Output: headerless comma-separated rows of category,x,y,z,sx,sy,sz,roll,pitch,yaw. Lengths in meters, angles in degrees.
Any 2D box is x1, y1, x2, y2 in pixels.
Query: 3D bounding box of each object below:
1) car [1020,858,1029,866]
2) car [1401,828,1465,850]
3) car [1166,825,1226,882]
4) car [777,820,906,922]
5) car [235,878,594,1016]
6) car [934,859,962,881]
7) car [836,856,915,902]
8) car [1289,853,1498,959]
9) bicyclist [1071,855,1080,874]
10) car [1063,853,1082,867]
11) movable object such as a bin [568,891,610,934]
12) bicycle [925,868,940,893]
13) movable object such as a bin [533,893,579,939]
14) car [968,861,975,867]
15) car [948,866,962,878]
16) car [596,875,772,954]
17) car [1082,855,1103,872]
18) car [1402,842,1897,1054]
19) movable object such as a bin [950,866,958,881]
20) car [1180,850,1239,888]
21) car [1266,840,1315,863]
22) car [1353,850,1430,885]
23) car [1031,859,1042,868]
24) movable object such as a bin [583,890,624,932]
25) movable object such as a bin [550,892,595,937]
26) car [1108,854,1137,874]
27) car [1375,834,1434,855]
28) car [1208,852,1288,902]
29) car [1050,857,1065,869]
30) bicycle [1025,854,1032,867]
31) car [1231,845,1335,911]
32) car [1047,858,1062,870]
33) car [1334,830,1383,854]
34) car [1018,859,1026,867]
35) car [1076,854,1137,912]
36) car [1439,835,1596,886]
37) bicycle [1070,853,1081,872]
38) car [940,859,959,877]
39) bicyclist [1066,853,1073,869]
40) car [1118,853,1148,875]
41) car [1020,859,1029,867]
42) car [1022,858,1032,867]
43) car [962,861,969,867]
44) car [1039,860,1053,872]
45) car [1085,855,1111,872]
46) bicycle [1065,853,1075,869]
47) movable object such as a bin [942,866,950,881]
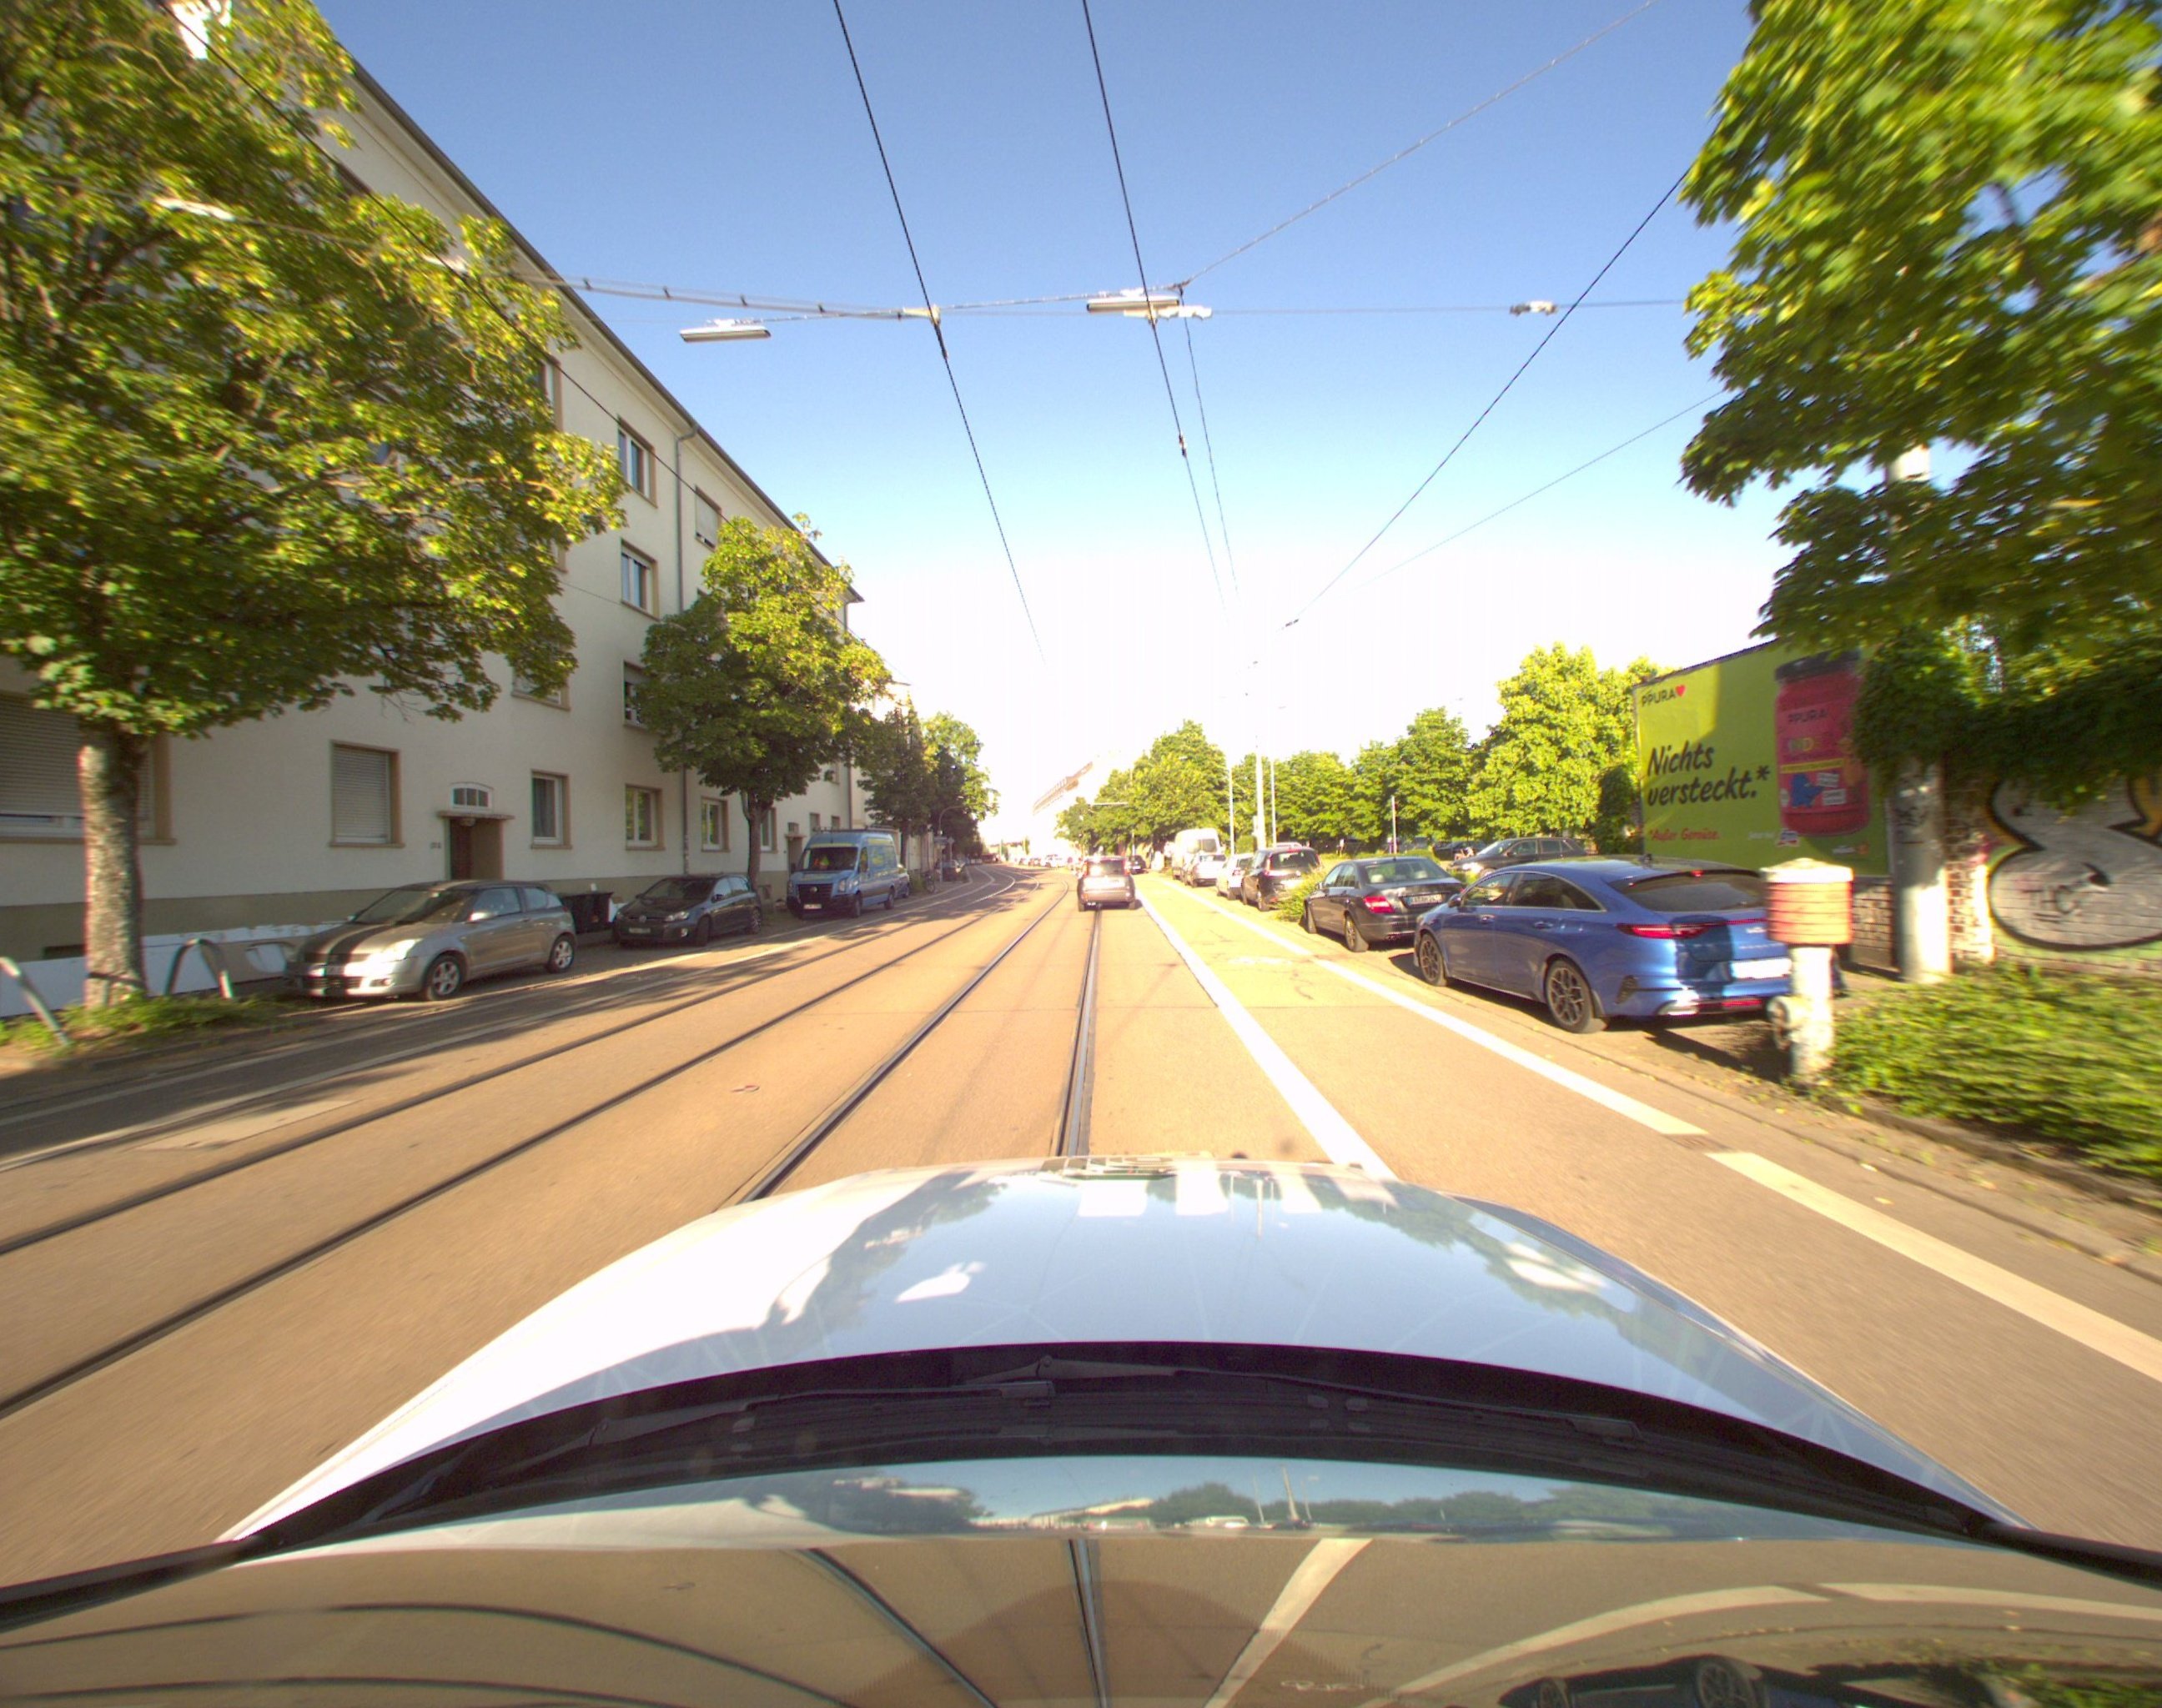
car,-11.538,1.596,166.277,1.583,1.599,3.365,-1,-1,-9
car,30.171,-1.264,69.915,4.678,1.816,1.957,-1,-1,-7
car,5.949,-0.007,42.956,2.173,2.665,6.090,-4,-1,0
car,-7.364,0.497,25.833,2.009,2.826,6.036,-1,0,3
car,-8.949,1.141,11.460,1.645,1.491,4.002,-1,0,2
car,-9.718,1.173,59.693,1.686,1.530,3.993,-1,0,-5
car,-8.264,0.959,33.149,1.784,1.560,4.643,6,0,1
car,4.957,0.746,13.667,1.723,1.464,4.496,-1,0,-1
bicyclist,-0.506,0.955,76.822,0.699,1.759,0.755,-1,-1,-10
car,-1.006,0.687,93.881,1.634,1.508,3.387,-4,0,-8
movable object such as a bin,-11.231,1.326,18.602,0.594,0.934,0.568,-2,0,-1
bicycle,-7.098,1.263,38.897,0.511,1.134,2.027,-1,-1,-5
movable object such as a bin,-11.207,1.316,17.399,0.594,0.934,0.568,-2,0,-1
car,-29.005,2.606,215.178,1.705,1.497,3.712,-1,0,-7
car,-16.804,2.398,109.121,1.808,1.508,4.667,-1,0,-8
car,-8.470,1.221,17.820,1.645,1.425,4.191,-1,0,2
car,1.182,0.963,83.612,1.686,1.530,3.993,-3,0,-5
car,4.864,0.673,7.902,1.723,1.464,4.339,-1,0,-1
movable object such as a bin,-8.547,1.290,54.659,0.484,0.987,0.658,-1,-1,-6
car,5.654,0.650,36.299,1.904,1.530,4.601,-2,0,1
car,20.578,-0.202,80.196,4.272,2.013,1.771,-3,0,-5
car,9.772,0.405,25.837,1.304,1.033,3.057,-1,0,1
car,-7.760,1.712,142.125,1.583,1.405,3.365,-5,0,-9
movable object such as a bin,-11.249,1.331,19.204,0.594,0.934,0.568,-2,0,-1
movable object such as a bin,-11.231,1.321,17.992,0.594,0.934,0.568,-2,0,-1
car,3.389,0.812,66.991,1.686,1.530,4.347,-3,0,-5
car,29.474,-0.891,74.199,4.678,1.816,1.957,-1,-1,-7
car,5.469,0.732,27.144,1.723,1.512,4.249,-1,0,-1
car,-3.237,1.259,111.872,1.655,1.571,3.488,-1,-1,-9
bicycle,-8.603,1.035,133.312,0.741,2.014,2.803,-1,-1,-9
car,5.410,0.611,22.354,1.723,1.604,4.340,-1,0,-1
car,-3.827,1.438,116.117,1.655,1.571,3.864,-1,0,-9
car,28.072,-1.166,82.439,4.189,2.241,2.136,-2,0,-11
car,-12.895,1.978,178.439,1.583,1.599,3.365,-1,-1,-9
car,0.741,0.792,23.977,1.644,1.541,4.236,0,0,2
car,12.734,0.188,23.926,3.690,1.400,1.759,-1,-1,0
bicycle,-0.498,0.783,76.889,0.675,1.747,2.151,-1,-1,-9
car,-13.249,1.393,81.682,1.653,1.668,4.277,-1,-1,-12
bicyclist,-1.208,0.740,86.364,0.699,1.759,0.755,-1,-1,-10
car,3.943,0.741,62.309,1.686,1.530,3.993,-3,0,-5
car,-12.017,1.922,172.559,1.583,1.599,3.365,-1,-1,-9
car,-10.626,1.663,159.624,1.583,1.599,3.365,-1,-1,-9
car,-28.311,2.373,199.193,1.705,1.497,3.712,-1,0,-7
car,-5.508,1.869,127.193,1.655,1.944,4.650,-1,0,-9
car,1.649,0.930,78.814,1.689,1.530,3.985,-3,0,-11
bicycle,-1.163,0.734,86.440,0.675,1.747,2.151,-1,-1,-9
movable object such as a bin,-9.074,1.312,54.585,0.484,0.987,0.658,-1,-1,-6
